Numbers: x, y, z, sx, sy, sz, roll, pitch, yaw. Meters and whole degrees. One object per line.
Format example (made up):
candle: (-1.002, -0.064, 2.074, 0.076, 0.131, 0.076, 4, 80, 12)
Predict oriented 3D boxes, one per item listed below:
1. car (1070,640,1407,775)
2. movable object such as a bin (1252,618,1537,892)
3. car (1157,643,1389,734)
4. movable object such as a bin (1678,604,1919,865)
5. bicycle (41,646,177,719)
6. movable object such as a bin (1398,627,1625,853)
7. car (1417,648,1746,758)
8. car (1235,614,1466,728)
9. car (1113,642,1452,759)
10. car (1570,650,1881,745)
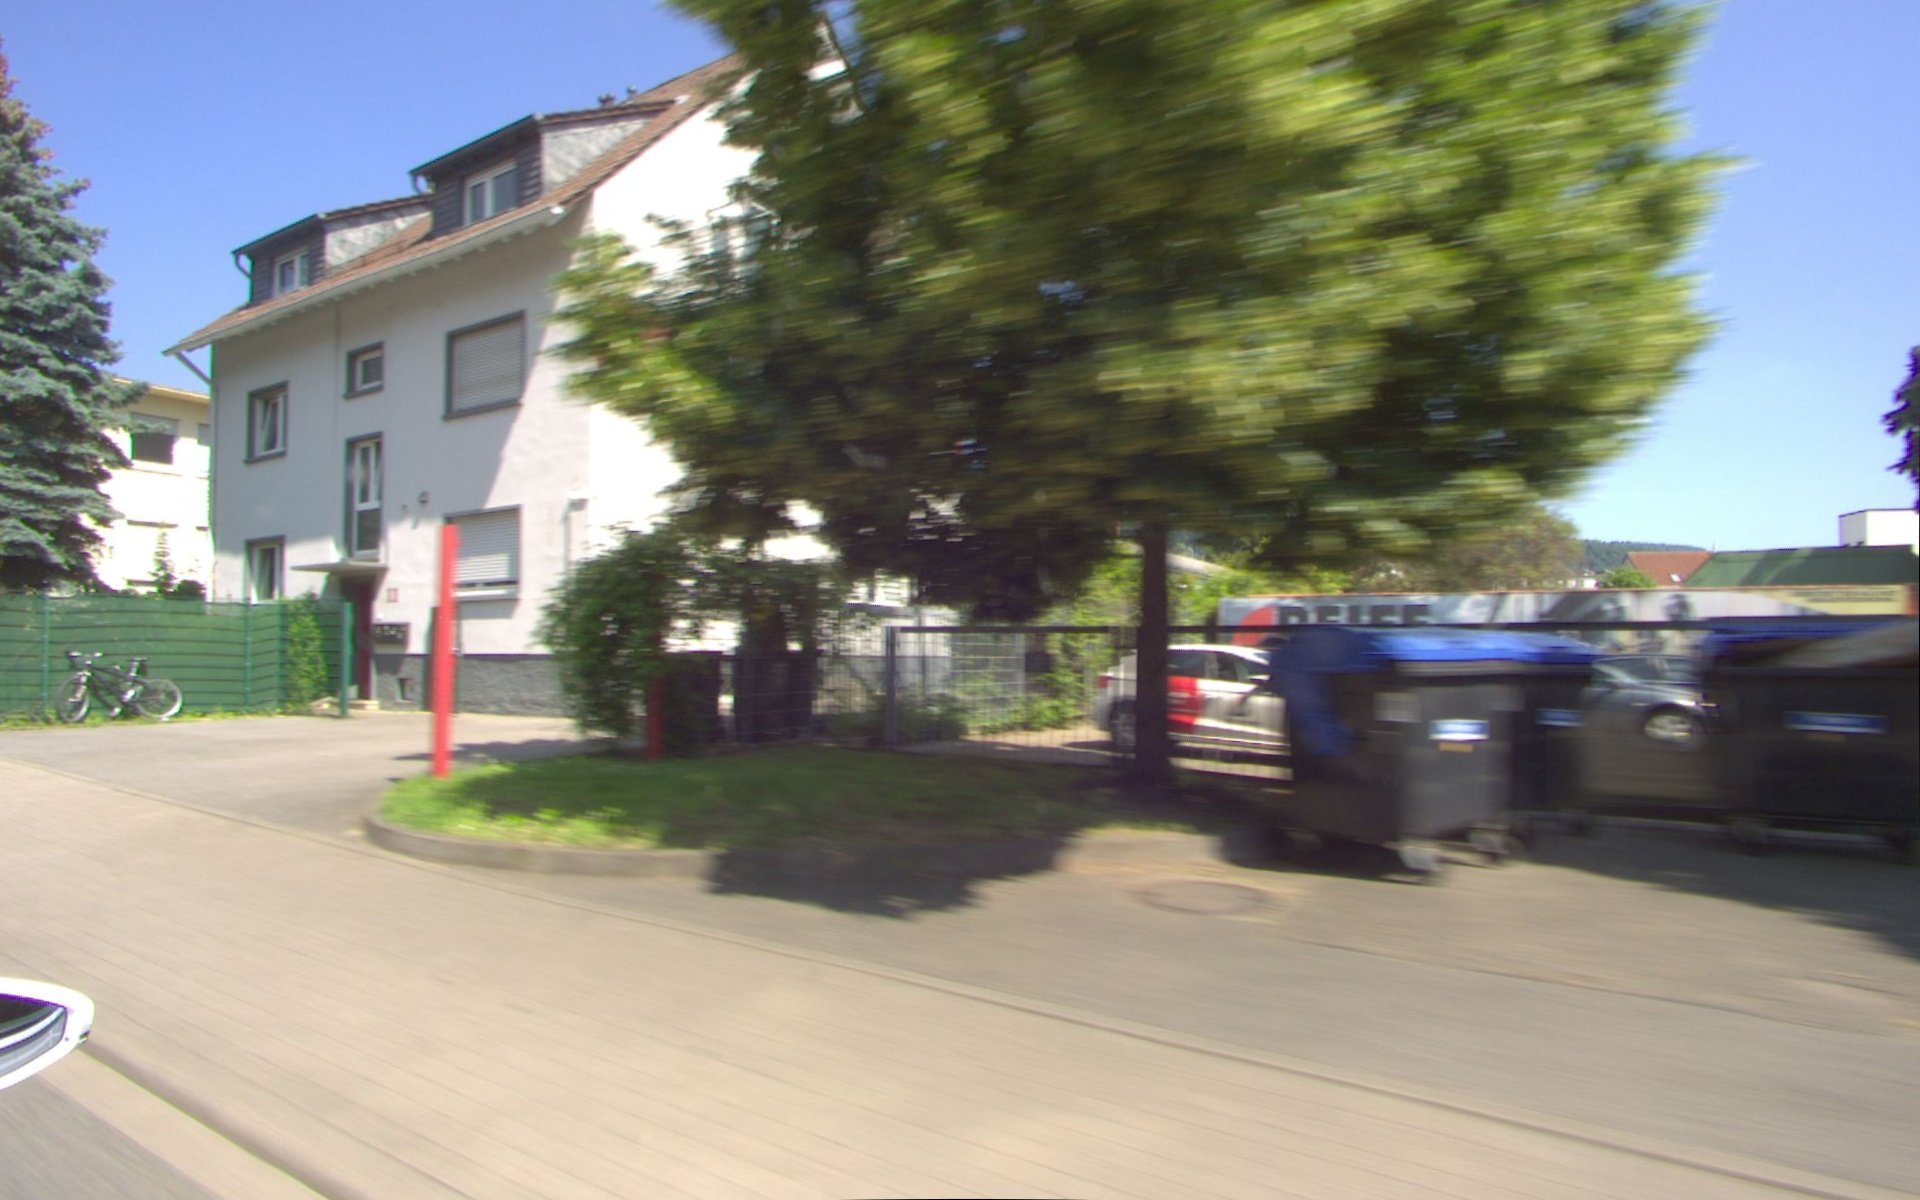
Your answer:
car: (3.616, 1.302, 13.192, 3.944, 1.478, 1.740, -1, -3, 33)
movable object such as a bin: (2.645, 0.875, 6.126, 1.370, 1.448, 0.985, 2, -4, -33)
car: (5.713, 1.540, 18.398, 3.747, 1.372, 1.713, 1, -1, 33)
movable object such as a bin: (5.662, 0.848, 6.632, 1.301, 1.565, 0.978, -2, -4, 29)
bicycle: (-12.373, 1.179, 14.599, 0.382, 1.002, 1.469, -3, -4, 31)
movable object such as a bin: (3.943, 0.944, 7.170, 1.303, 1.448, 0.880, 2, -4, -33)
car: (9.573, 1.509, 15.713, 4.175, 1.478, 1.740, -1, -2, 33)
car: (7.743, 1.331, 19.982, 3.990, 1.948, 1.713, 2, -1, 33)
car: (4.936, 1.442, 15.587, 4.700, 1.396, 1.884, 1, -1, 33)
car: (12.699, 1.570, 16.963, 3.992, 1.409, 1.713, -2, -2, 33)
